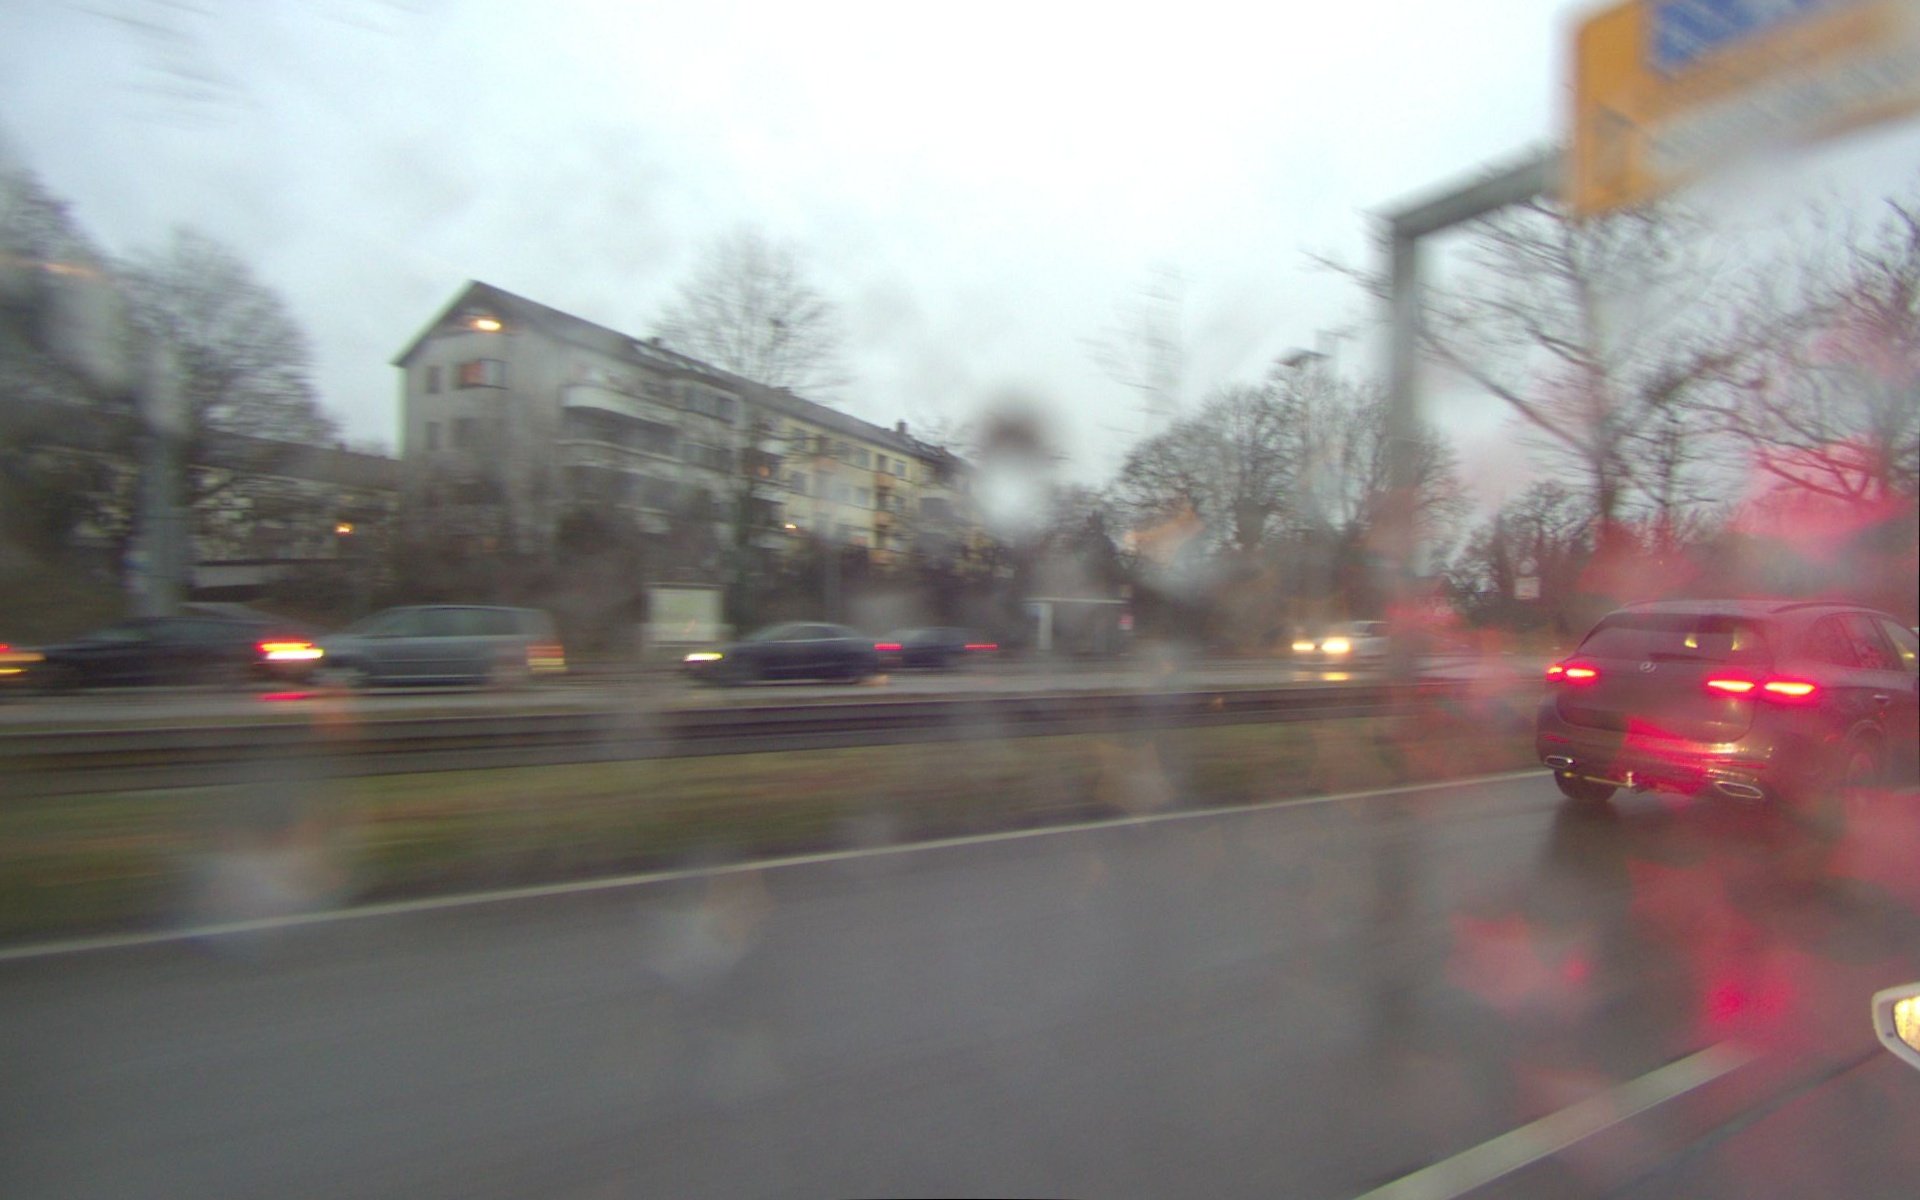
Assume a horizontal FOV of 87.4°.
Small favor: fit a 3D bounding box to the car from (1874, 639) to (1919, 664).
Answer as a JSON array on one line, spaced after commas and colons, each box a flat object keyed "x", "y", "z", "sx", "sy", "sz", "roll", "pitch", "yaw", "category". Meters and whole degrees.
[{"x": 59.750, "y": 3.258, "z": 63.480, "sx": 4.147, "sy": 1.502, "sz": 1.743, "roll": 2, "pitch": -1, "yaw": -30, "category": "car"}]

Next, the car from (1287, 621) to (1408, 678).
[{"x": 12.154, "y": 1.522, "z": 31.462, "sx": 3.535, "sy": 1.648, "sz": 1.775, "roll": 2, "pitch": 0, "yaw": -32, "category": "car"}]

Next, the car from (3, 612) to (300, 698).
[{"x": -15.046, "y": 1.019, "z": 19.034, "sx": 4.124, "sy": 1.466, "sz": 1.727, "roll": 2, "pitch": -1, "yaw": -31, "category": "car"}]

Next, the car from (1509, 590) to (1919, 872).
[{"x": 6.441, "y": 0.852, "z": 7.895, "sx": 4.417, "sy": 1.669, "sz": 1.812, "roll": 2, "pitch": -1, "yaw": -32, "category": "car"}]

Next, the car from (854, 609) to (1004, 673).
[{"x": -0.965, "y": 1.301, "z": 32.088, "sx": 4.373, "sy": 1.876, "sz": 1.984, "roll": 2, "pitch": 0, "yaw": -30, "category": "car"}]

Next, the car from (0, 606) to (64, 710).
[{"x": -16.101, "y": 0.786, "z": 14.431, "sx": 4.397, "sy": 1.466, "sz": 1.897, "roll": 2, "pitch": -1, "yaw": -27, "category": "car"}]

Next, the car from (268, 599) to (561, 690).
[{"x": -9.713, "y": 0.794, "z": 18.137, "sx": 4.392, "sy": 1.466, "sz": 1.894, "roll": 2, "pitch": -1, "yaw": -31, "category": "car"}]

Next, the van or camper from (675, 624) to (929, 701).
[{"x": -3.357, "y": 1.331, "z": 21.769, "sx": 5.099, "sy": 1.466, "sz": 1.894, "roll": 2, "pitch": -1, "yaw": -31, "category": "van or camper"}]
